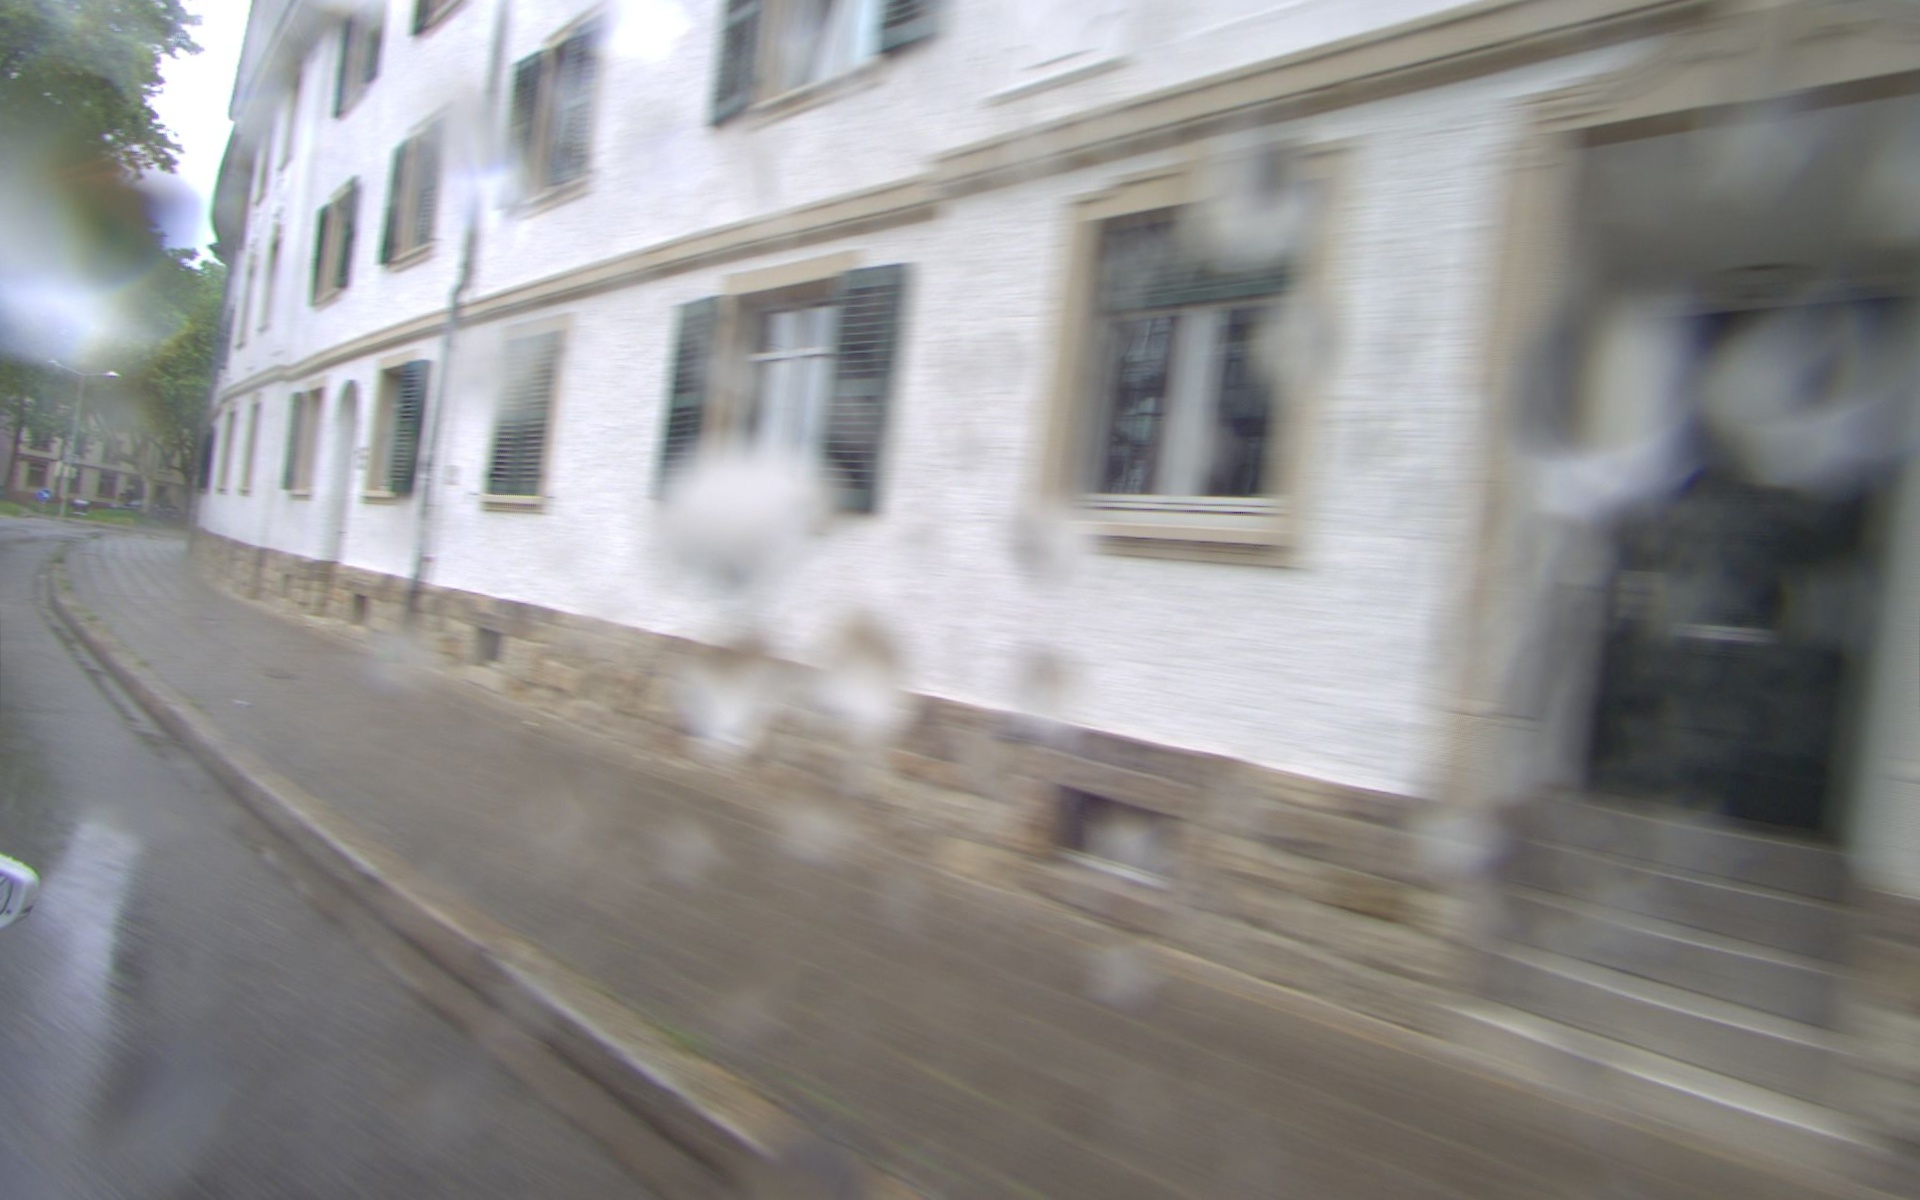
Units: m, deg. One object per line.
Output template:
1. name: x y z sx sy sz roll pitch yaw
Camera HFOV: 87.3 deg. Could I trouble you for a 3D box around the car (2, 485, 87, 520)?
1. car: -55.516 -5.904 61.059 3.448 1.542 1.509 7 1 -27
